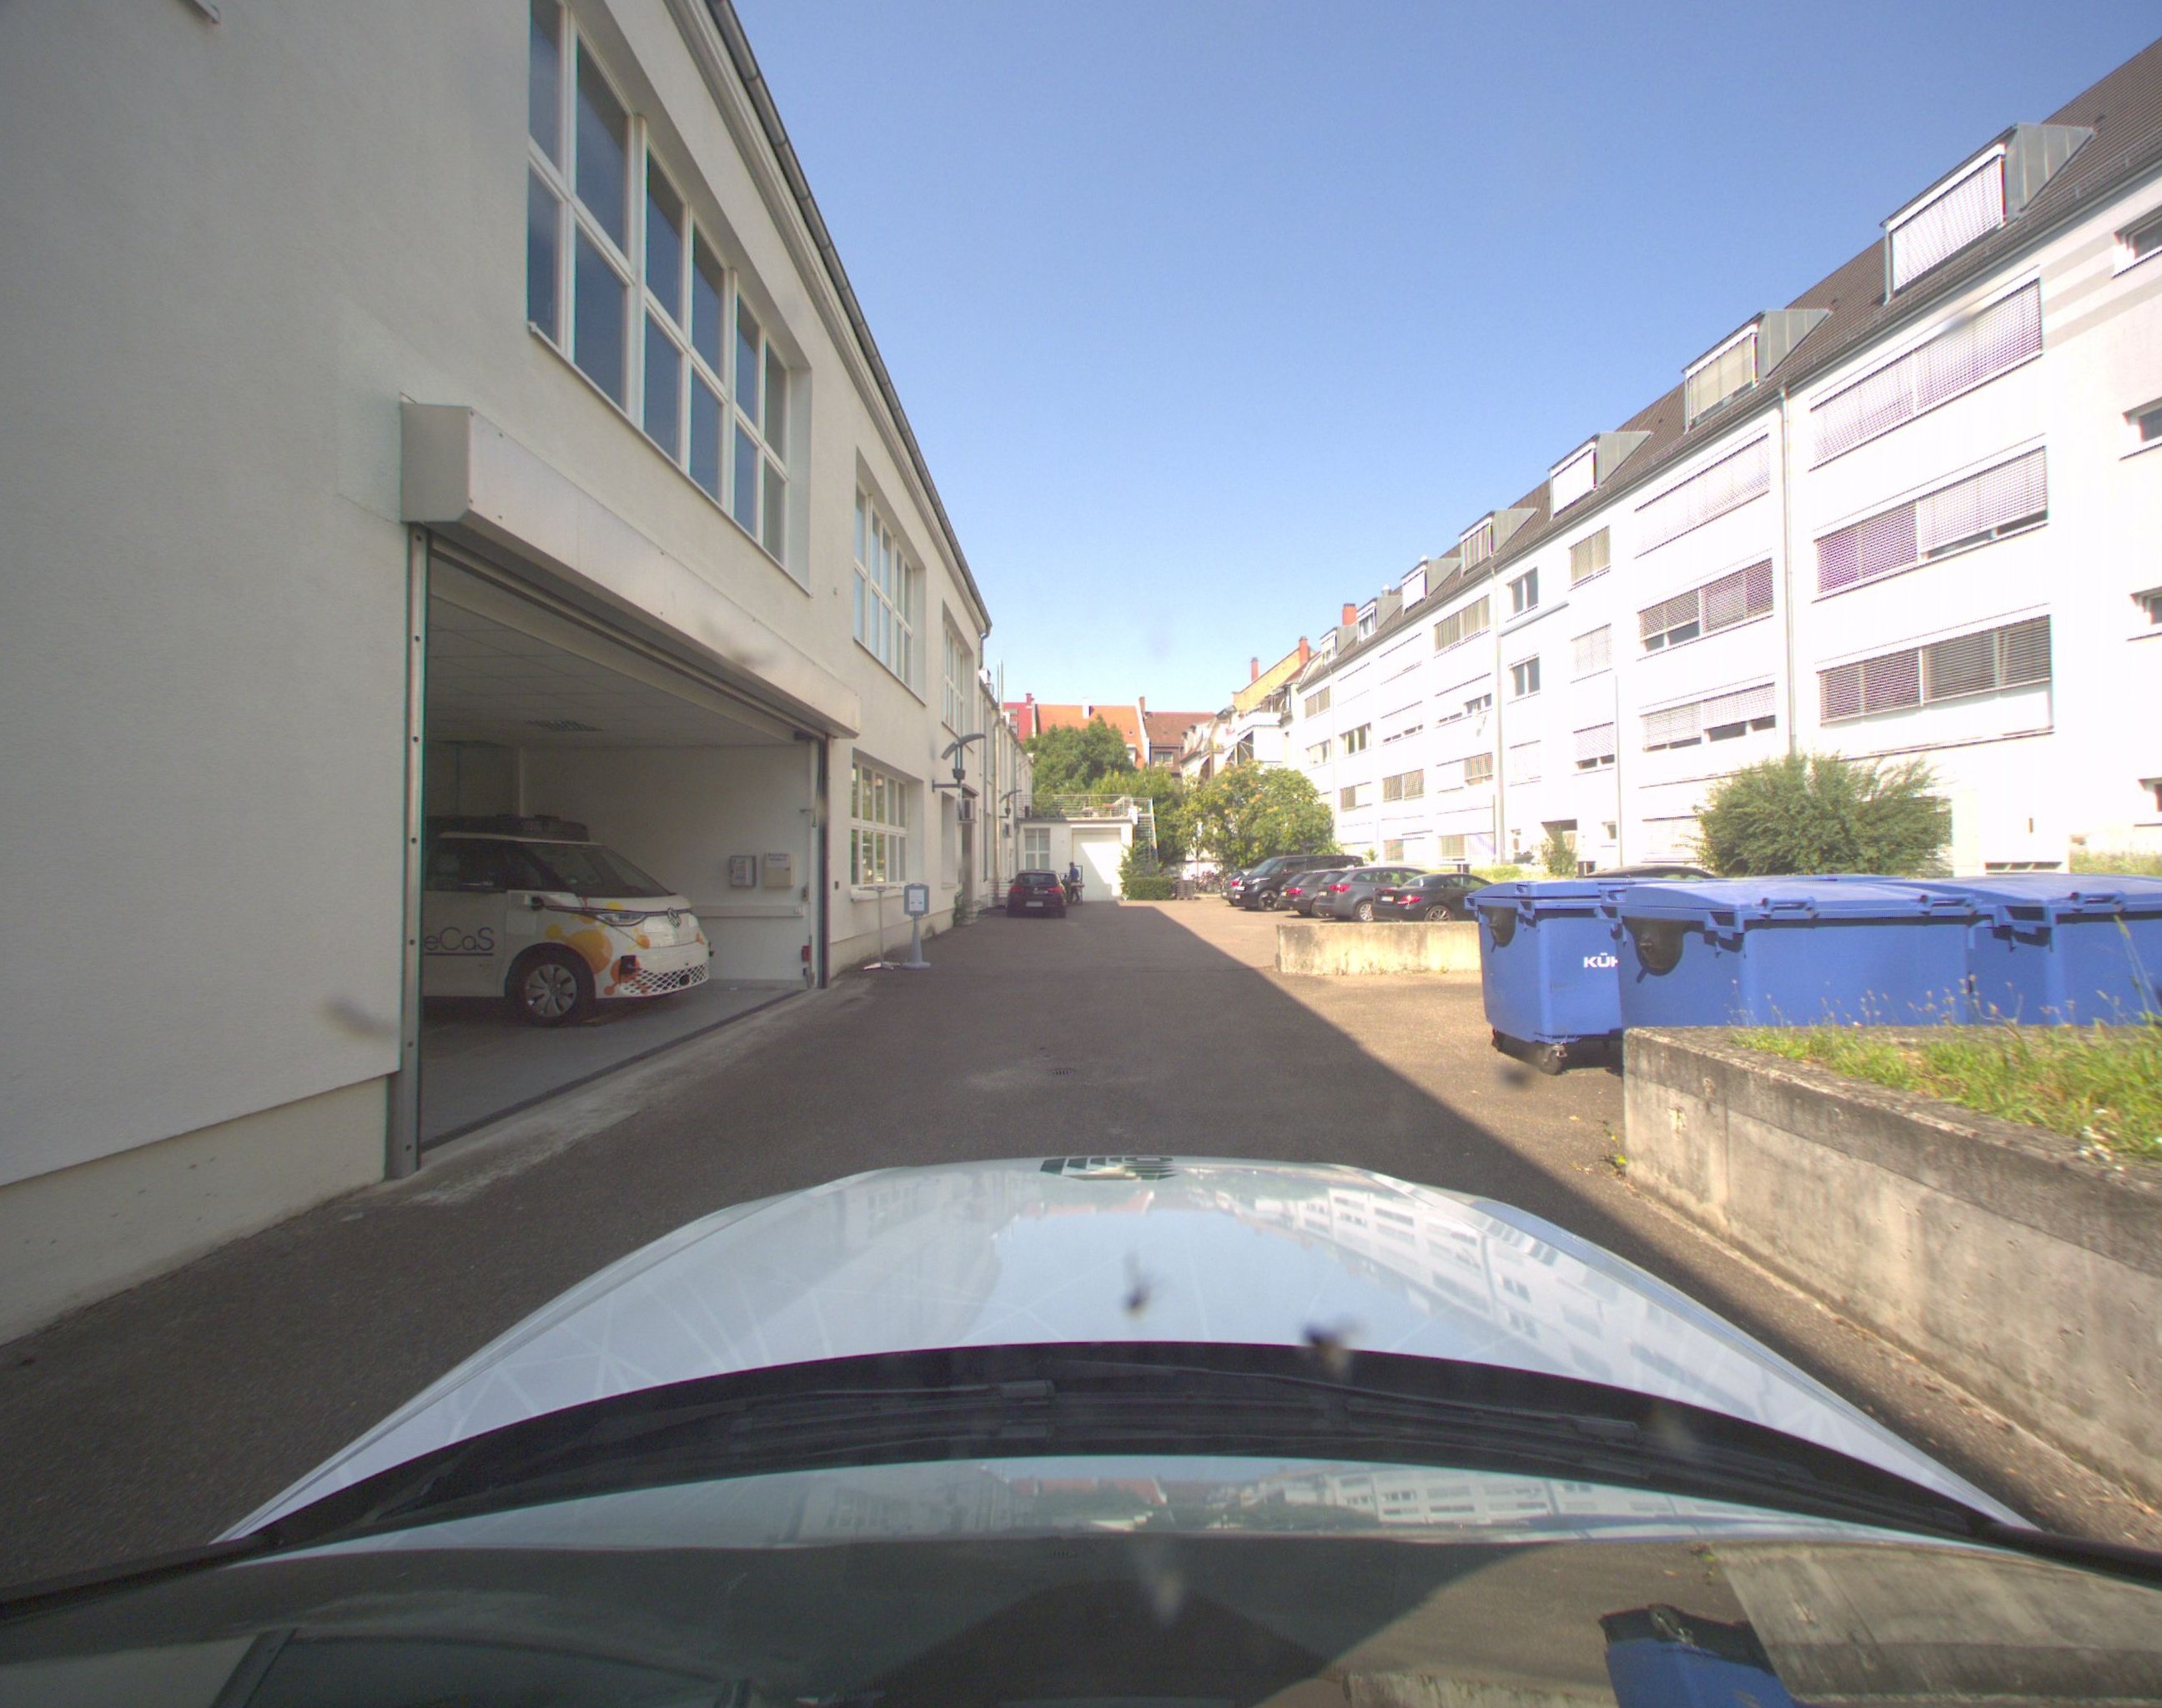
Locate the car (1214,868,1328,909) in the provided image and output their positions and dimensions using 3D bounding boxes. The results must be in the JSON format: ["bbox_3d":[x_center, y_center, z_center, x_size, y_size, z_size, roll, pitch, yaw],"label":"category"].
[{"bbox_3d":[7.285,1.319,31.424,3.930,1.482,1.769,0,-2,-9],"label":"car"}]

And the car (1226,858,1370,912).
[{"bbox_3d":[7.556,1.069,28.542,4.498,1.795,1.877,0,-2,-9],"label":"car"}]

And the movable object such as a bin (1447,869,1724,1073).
[{"bbox_3d":[3.605,0.793,5.989,1.296,1.340,1.194,0,-2,0],"label":"movable object such as a bin"}]

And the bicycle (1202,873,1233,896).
[{"bbox_3d":[7.450,1.680,44.512,1.612,1.214,0.425,-1,-2,13],"label":"bicycle"}]

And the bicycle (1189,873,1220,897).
[{"bbox_3d":[6.541,1.635,43.184,1.613,1.214,0.328,-1,-2,10],"label":"bicycle"}]

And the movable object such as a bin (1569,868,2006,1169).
[{"bbox_3d":[3.530,0.756,4.238,1.306,1.340,1.099,0,-2,-2],"label":"movable object such as a bin"}]

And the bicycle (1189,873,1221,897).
[{"bbox_3d":[6.496,1.621,42.734,1.616,1.214,0.327,-1,-2,2],"label":"bicycle"}]

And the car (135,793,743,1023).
[{"bbox_3d":[-6.433,0.529,8.653,4.730,2.093,2.055,1,-2,1],"label":"car"}]

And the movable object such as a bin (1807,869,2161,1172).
[{"bbox_3d":[4.857,0.760,4.219,1.223,1.340,1.075,0,-2,-4],"label":"movable object such as a bin"}]

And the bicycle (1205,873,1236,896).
[{"bbox_3d":[7.540,1.662,43.934,1.611,1.214,0.425,-1,-2,13],"label":"bicycle"}]

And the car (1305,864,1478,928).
[{"bbox_3d":[8.118,1.097,21.510,3.855,1.589,1.876,0,-2,-4],"label":"car"}]

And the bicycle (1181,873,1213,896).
[{"bbox_3d":[6.298,1.667,44.227,1.618,1.214,0.424,-1,-2,0],"label":"bicycle"}]

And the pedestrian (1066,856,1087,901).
[{"bbox_3d":[-0.189,1.101,36.768,0.910,2.014,0.935,0,-2,1],"label":"pedestrian"}]

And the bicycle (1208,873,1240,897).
[{"bbox_3d":[7.540,1.635,43.075,1.611,1.214,0.328,-1,-2,15],"label":"bicycle"}]

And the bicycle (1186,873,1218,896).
[{"bbox_3d":[6.471,1.646,43.549,1.611,1.214,0.328,-1,-2,13],"label":"bicycle"}]

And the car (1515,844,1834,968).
[{"bbox_3d":[9.116,0.780,12.744,3.609,1.545,1.801,-4,-2,-2],"label":"car"}]

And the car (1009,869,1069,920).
[{"bbox_3d":[-1.249,1.230,25.472,1.683,1.459,3.921,0,-2,-1],"label":"car"}]

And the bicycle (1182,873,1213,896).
[{"bbox_3d":[6.395,1.688,44.860,1.620,1.214,0.423,-1,-2,-5],"label":"bicycle"}]

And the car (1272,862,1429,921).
[{"bbox_3d":[7.985,1.105,24.332,4.106,1.692,1.769,0,-2,-2],"label":"car"}]

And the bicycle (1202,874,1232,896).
[{"bbox_3d":[7.614,1.713,45.536,1.612,1.214,0.425,-1,-2,13],"label":"bicycle"}]

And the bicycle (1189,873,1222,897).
[{"bbox_3d":[6.446,1.601,42.119,1.616,1.214,0.327,-1,-2,2],"label":"bicycle"}]

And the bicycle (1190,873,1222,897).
[{"bbox_3d":[6.519,1.611,42.440,1.616,1.214,0.327,-1,-2,2],"label":"bicycle"}]

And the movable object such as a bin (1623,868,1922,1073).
[{"bbox_3d":[4.925,0.779,5.937,1.229,1.340,1.118,0,-2,4],"label":"movable object such as a bin"}]

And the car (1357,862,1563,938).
[{"bbox_3d":[8.431,1.008,18.304,3.797,1.589,1.891,1,-2,-9],"label":"car"}]
